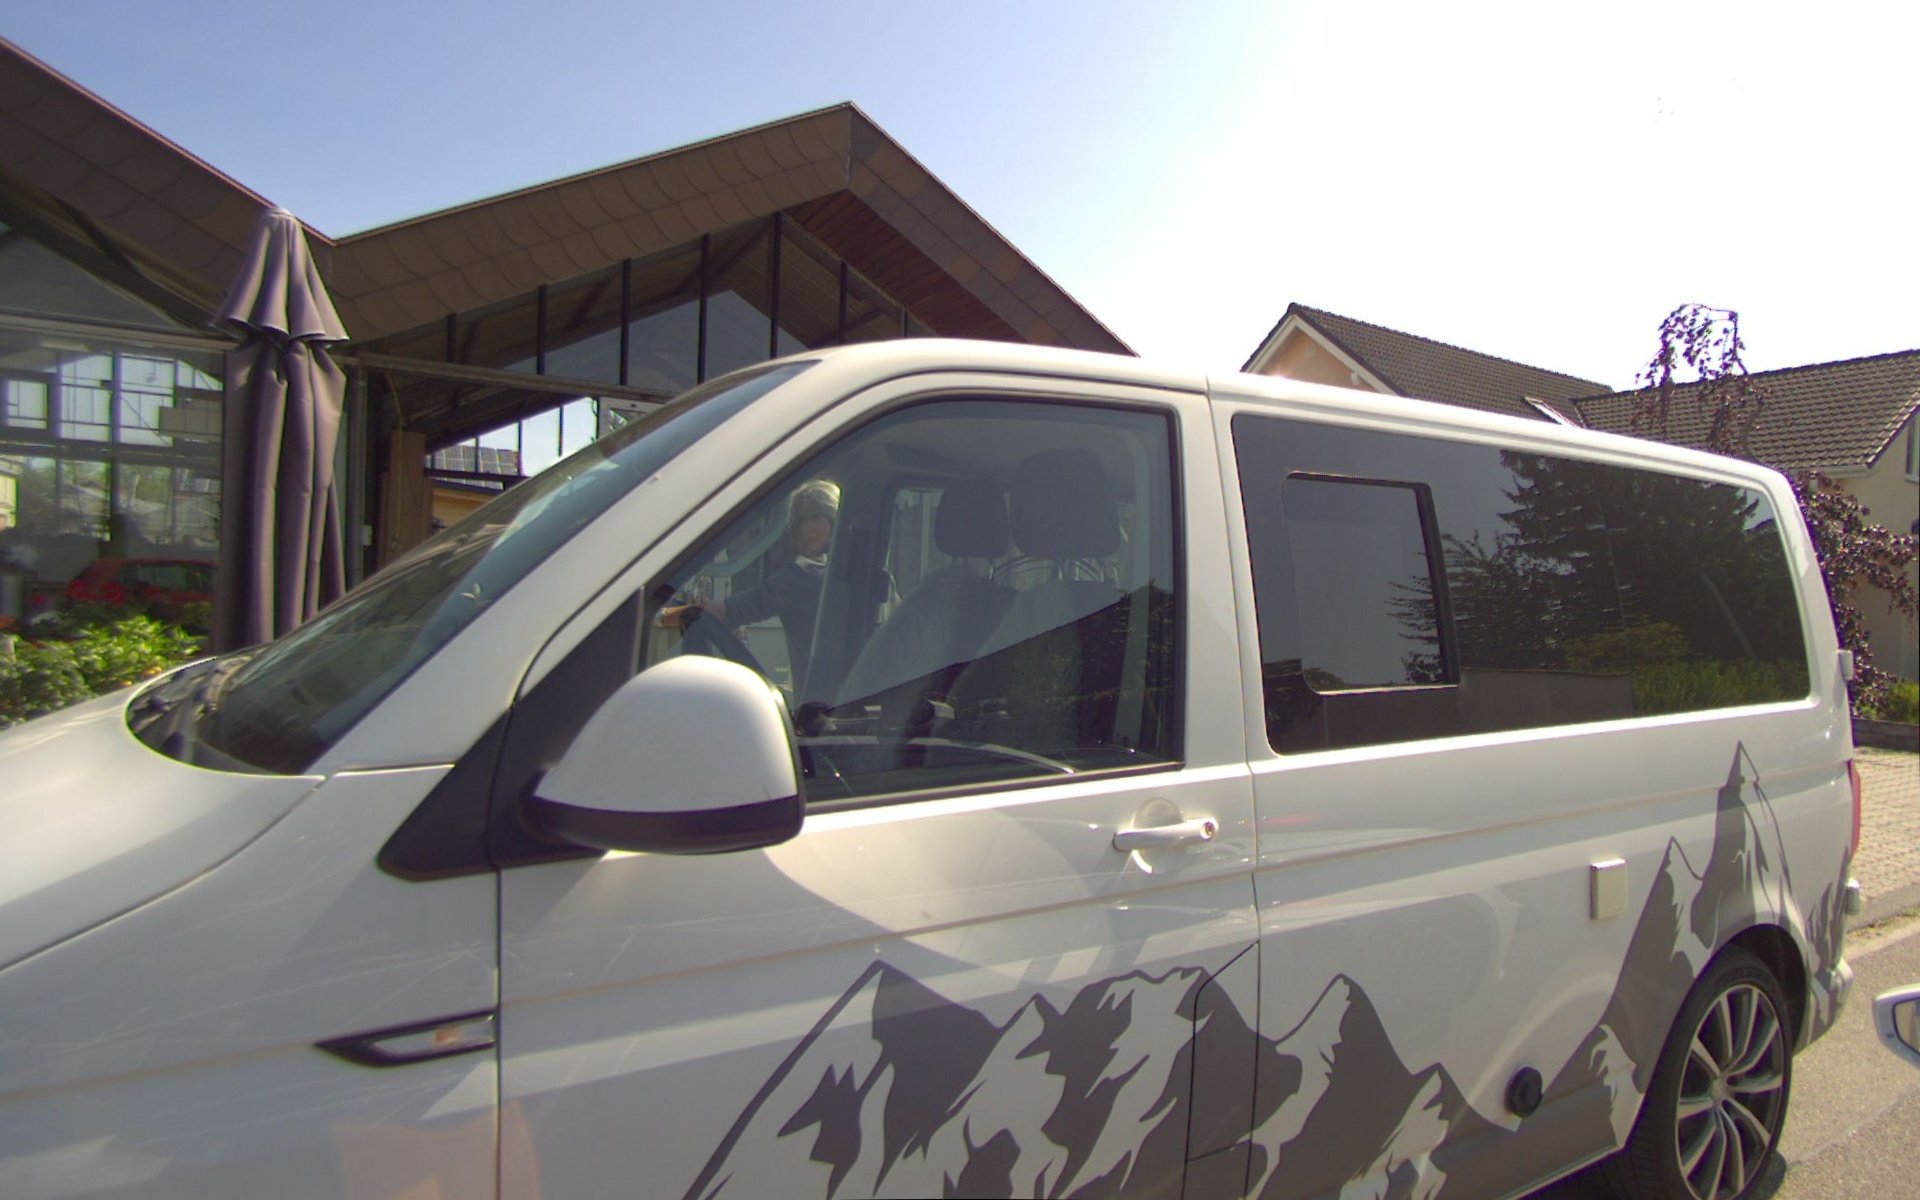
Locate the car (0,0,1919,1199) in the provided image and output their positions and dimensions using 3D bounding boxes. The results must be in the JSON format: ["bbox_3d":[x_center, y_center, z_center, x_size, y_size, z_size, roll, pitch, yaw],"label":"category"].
[{"bbox_3d":[0.208,0.409,2.437,4.836,2.040,1.920,2,1,-29],"label":"car"}]

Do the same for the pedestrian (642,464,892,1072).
[{"bbox_3d":[-0.587,0.487,3.260,0.629,1.754,0.692,2,2,0],"label":"pedestrian"}]
